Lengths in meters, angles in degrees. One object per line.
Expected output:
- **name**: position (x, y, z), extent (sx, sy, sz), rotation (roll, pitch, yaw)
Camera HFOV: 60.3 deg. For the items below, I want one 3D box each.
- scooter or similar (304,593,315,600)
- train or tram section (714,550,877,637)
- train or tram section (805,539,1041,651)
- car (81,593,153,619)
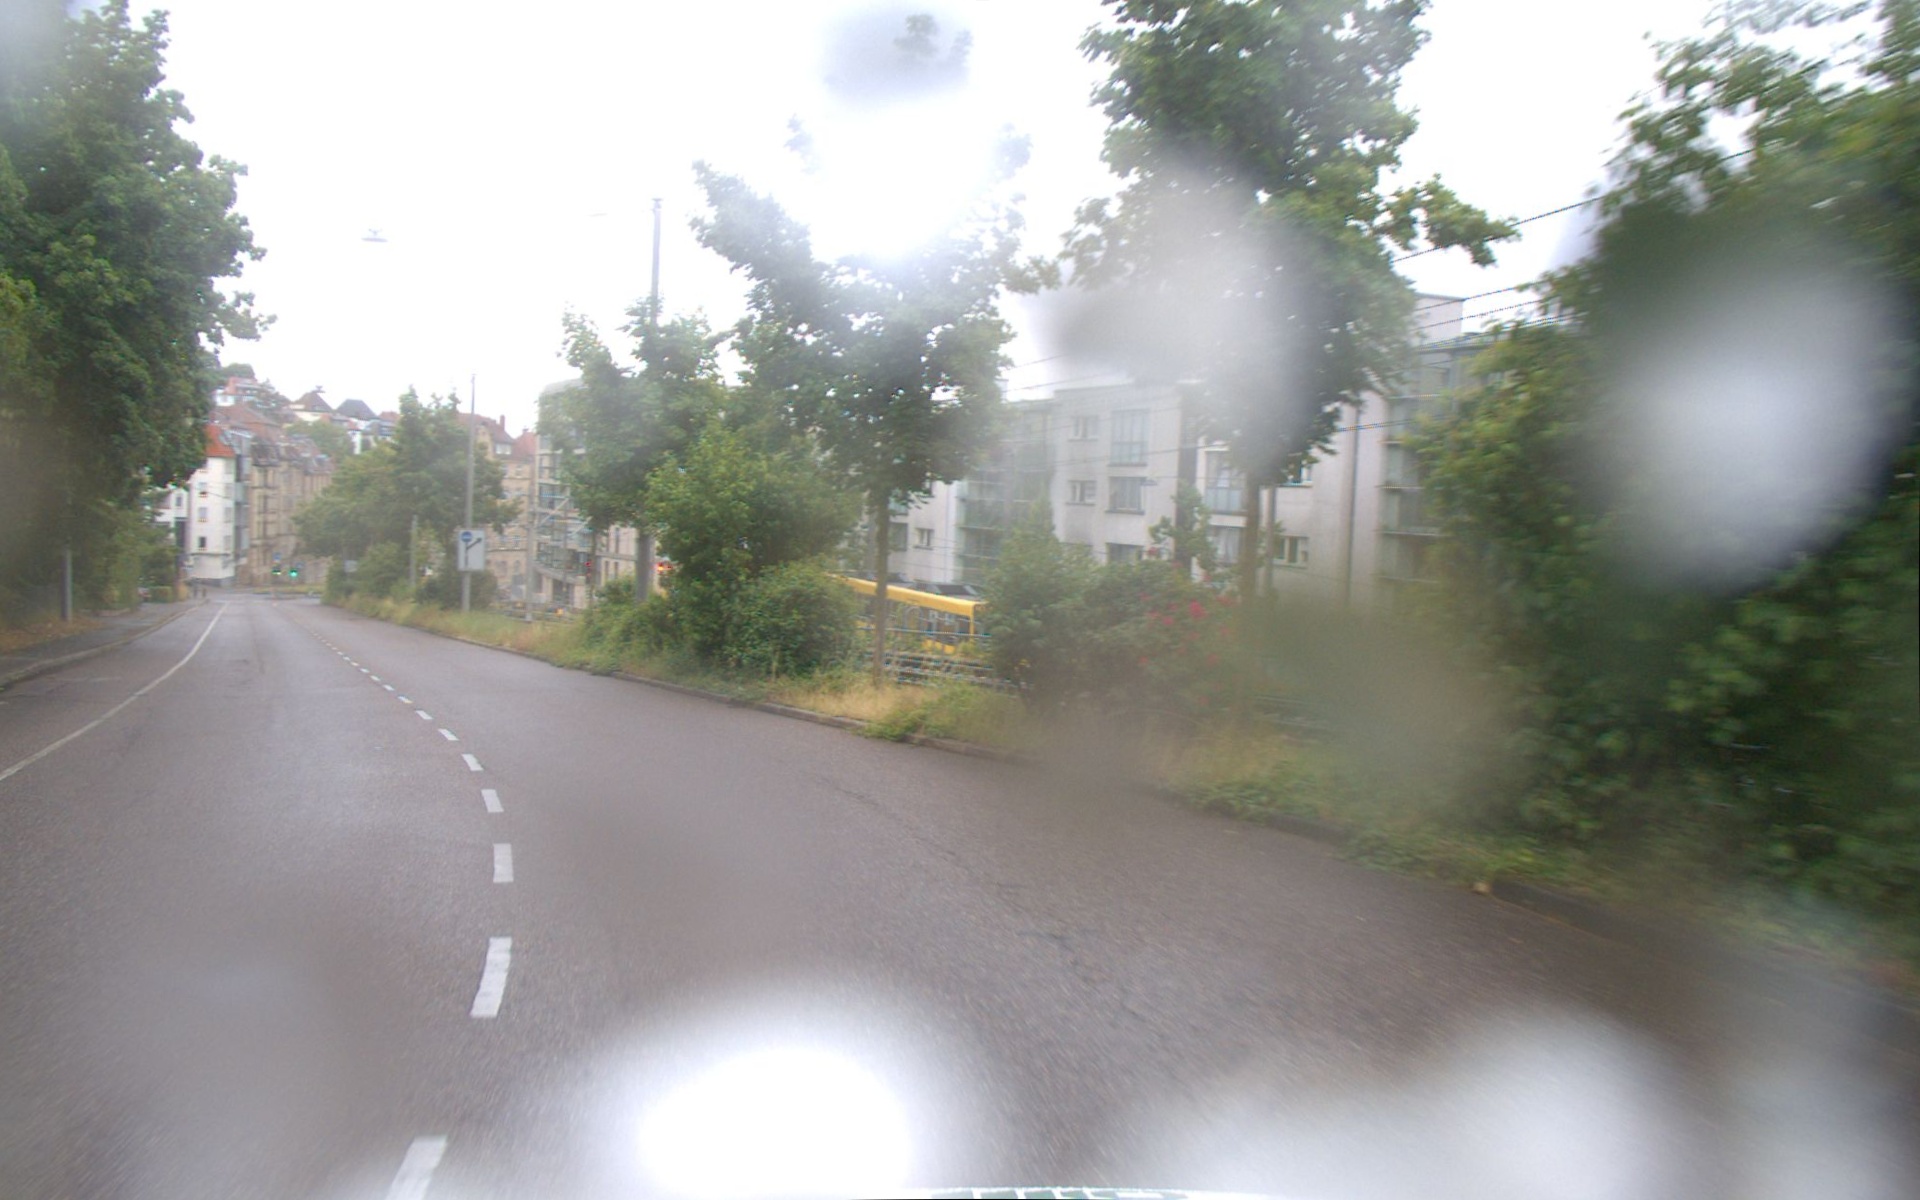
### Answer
- **scooter or similar**: position (-66.459, -0.342, 168.929), extent (0.474, 0.775, 1.330), rotation (1, 0, 4)
- **train or tram section**: position (-8.993, -0.360, 86.276), extent (3.284, 4.016, 18.685), rotation (1, 0, -22)
- **train or tram section**: position (-2.149, -0.230, 69.378), extent (3.284, 4.016, 19.150), rotation (1, 0, -22)
- **car**: position (-49.306, 0.372, 96.779), extent (3.581, 1.432, 1.771), rotation (1, -1, -23)
